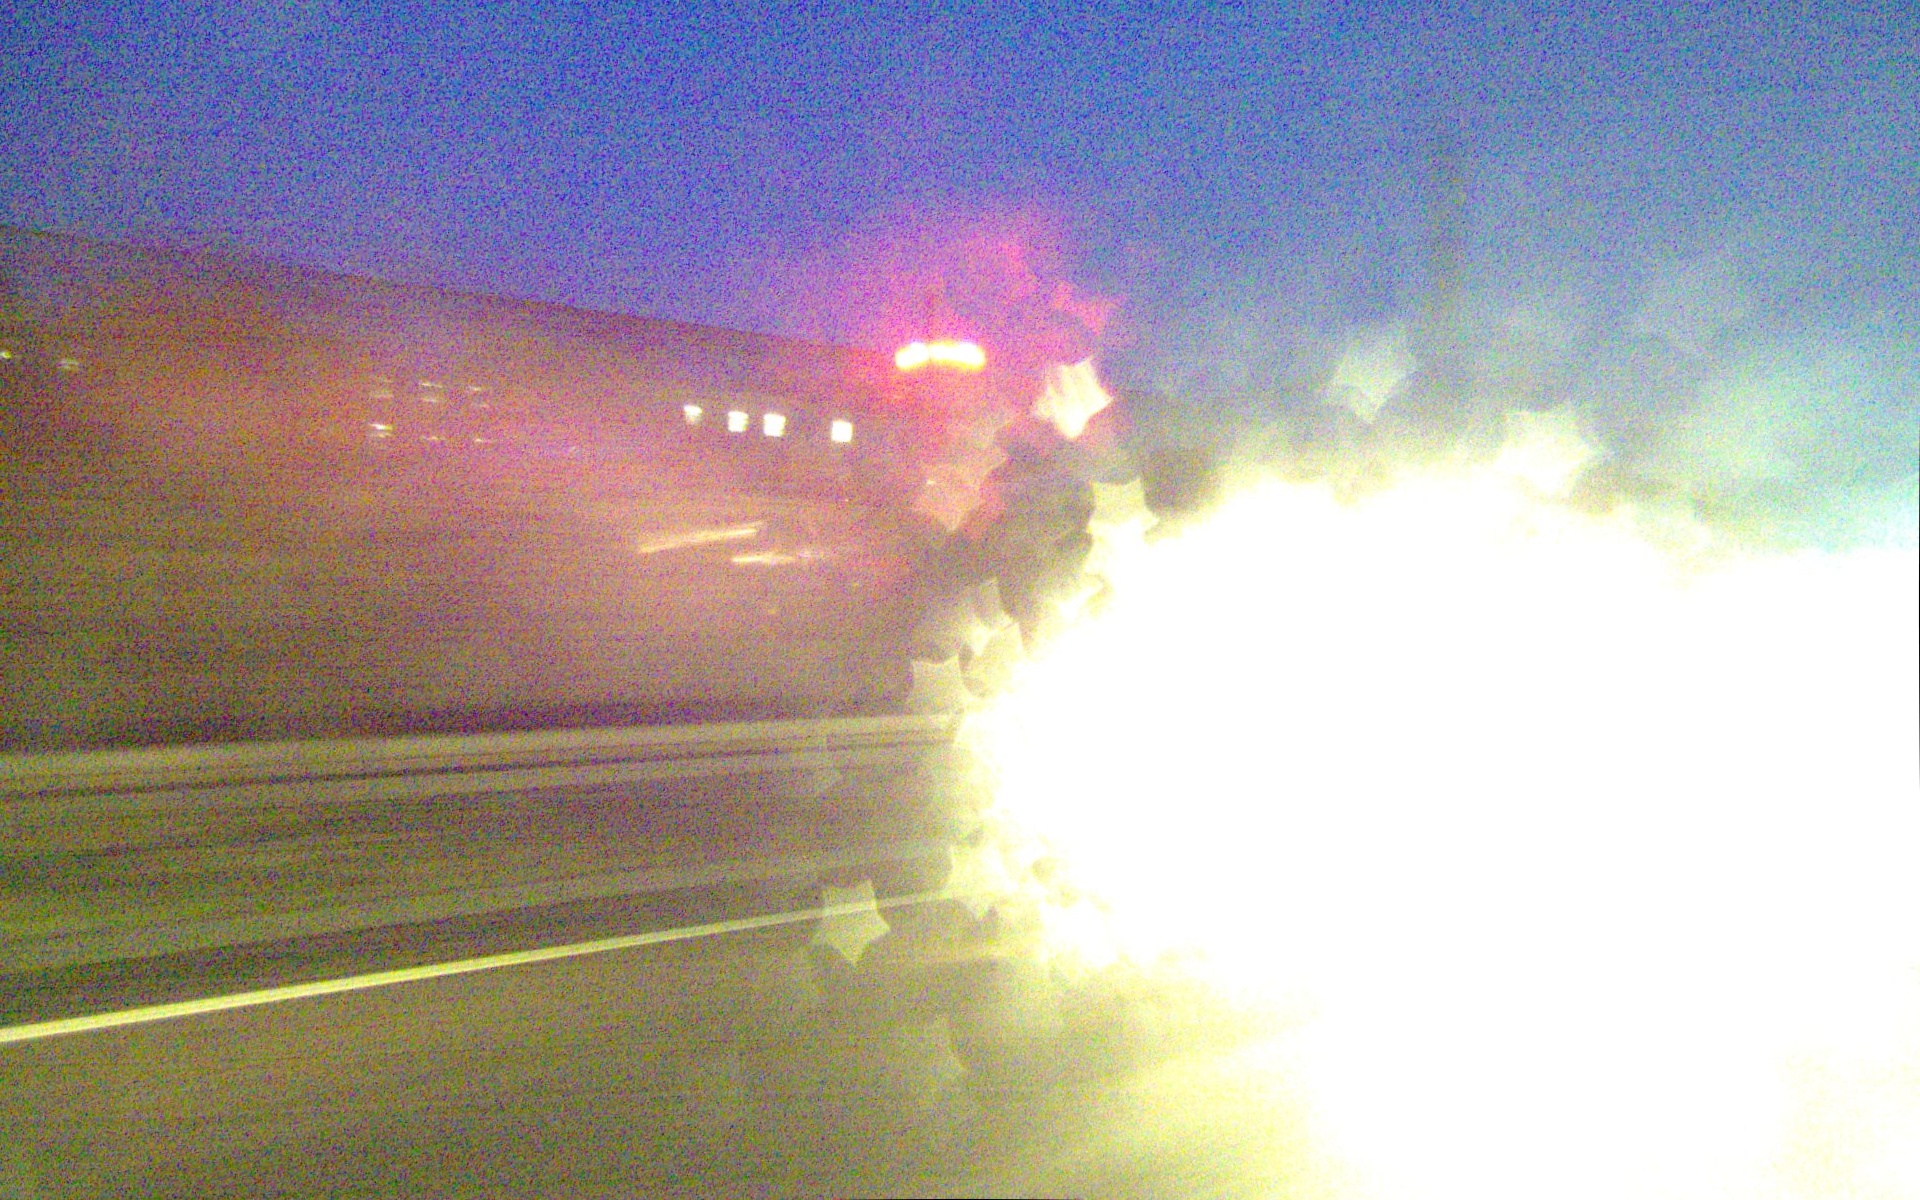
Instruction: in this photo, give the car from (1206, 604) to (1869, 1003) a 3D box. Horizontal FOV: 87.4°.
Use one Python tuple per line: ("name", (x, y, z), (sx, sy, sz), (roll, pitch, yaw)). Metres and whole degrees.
("car", (3.146, 0.798, 5.367), (3.388, 1.475, 1.656), (1, 0, -32))
